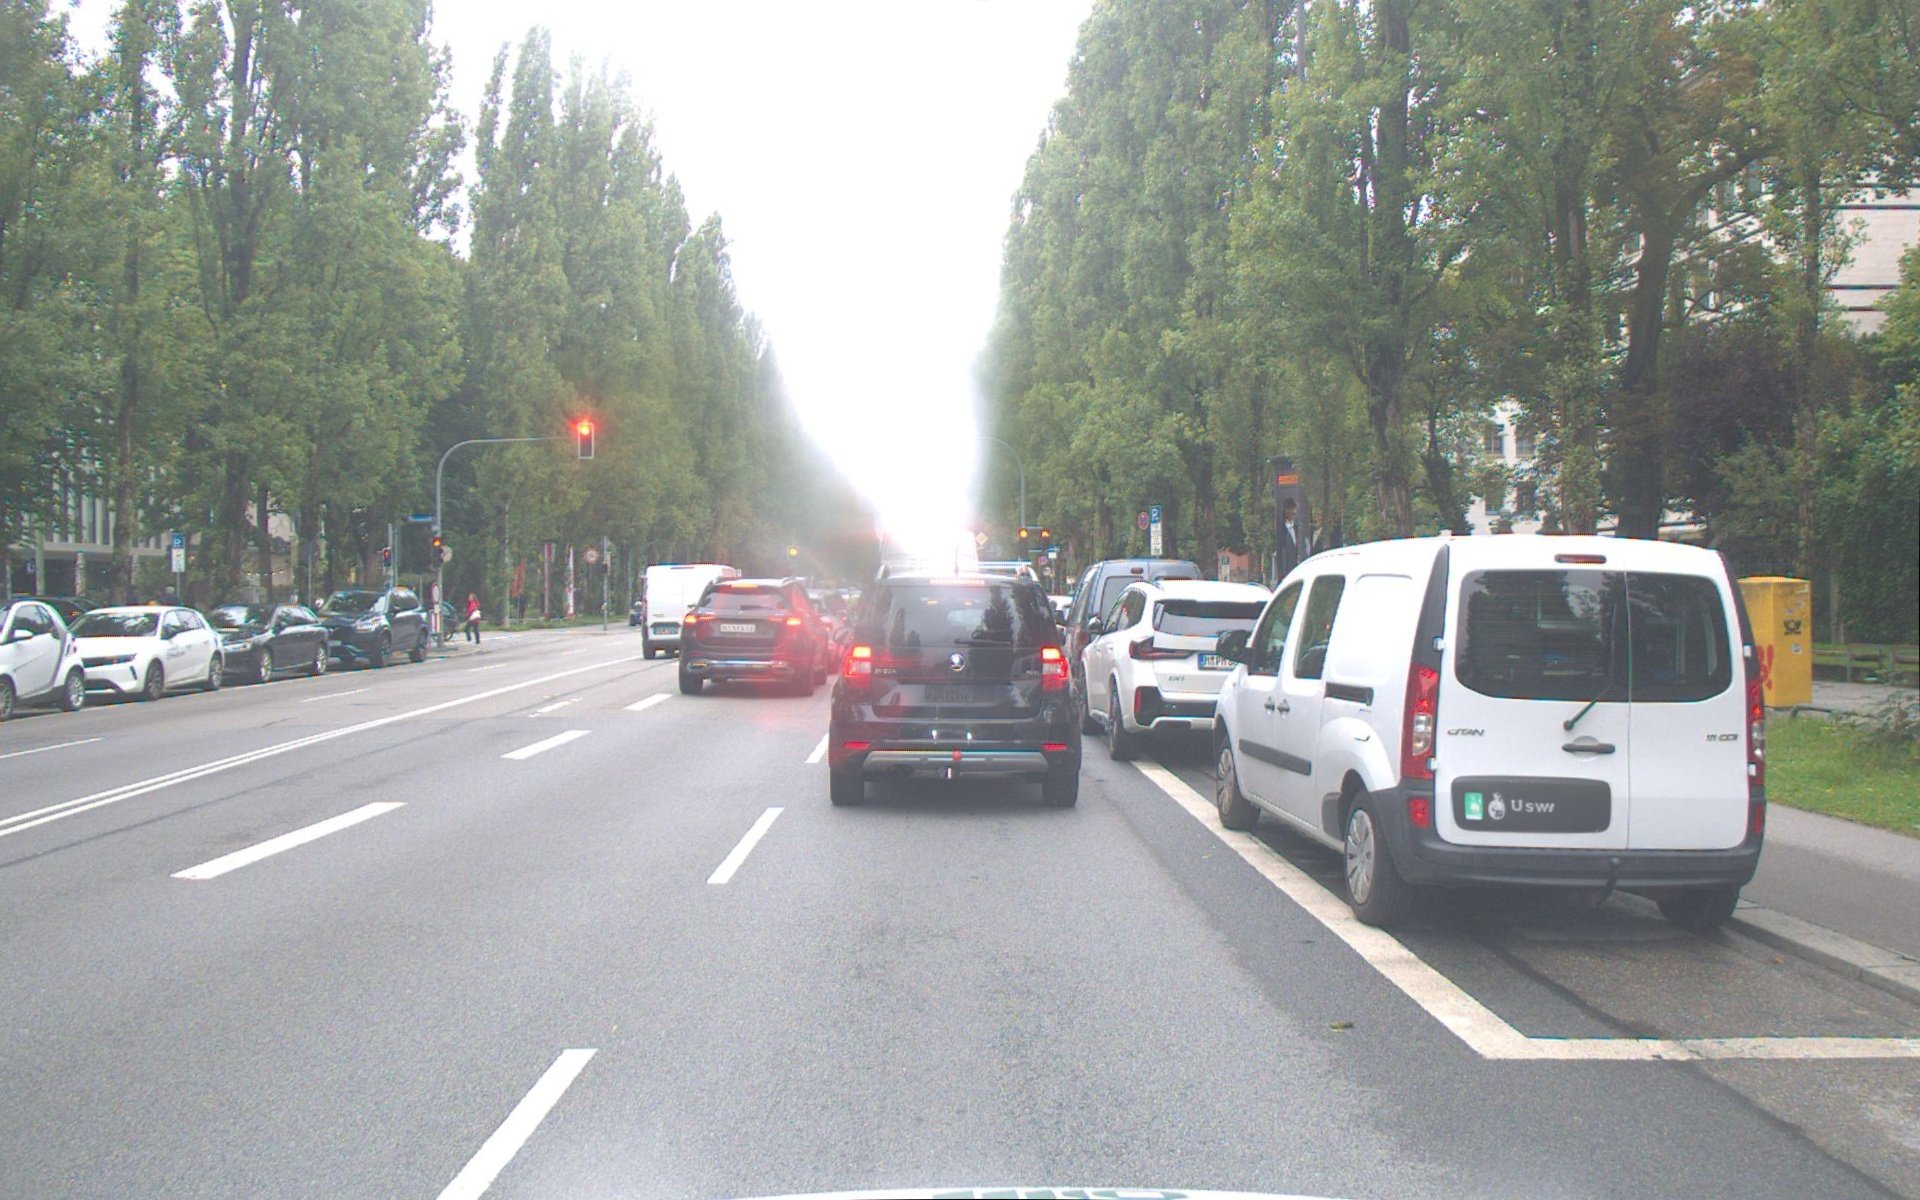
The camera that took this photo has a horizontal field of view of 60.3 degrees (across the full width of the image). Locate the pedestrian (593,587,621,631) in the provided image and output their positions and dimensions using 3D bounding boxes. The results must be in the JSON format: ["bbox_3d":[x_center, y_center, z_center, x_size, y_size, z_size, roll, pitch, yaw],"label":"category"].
[{"bbox_3d":[-14.686,0.382,68.774,0.861,1.795,0.879,-1,0,8],"label":"pedestrian"}]

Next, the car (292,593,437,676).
[{"bbox_3d":[-13.502,0.726,37.785,1.813,1.683,4.692,-3,0,-4],"label":"car"}]

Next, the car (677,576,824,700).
[{"bbox_3d":[-3.016,0.496,24.498,1.745,1.648,4.024,1,1,-2],"label":"car"}]

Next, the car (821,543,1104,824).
[{"bbox_3d":[-0.029,0.538,12.886,1.818,1.801,3.999,2,0,-1],"label":"car"}]

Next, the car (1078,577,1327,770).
[{"bbox_3d":[2.216,0.601,16.179,1.706,1.620,4.210,0,1,-2],"label":"car"}]

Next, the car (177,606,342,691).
[{"bbox_3d":[-13.384,0.882,31.838,1.591,1.413,4.163,-3,0,-4],"label":"car"}]

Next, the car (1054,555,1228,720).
[{"bbox_3d":[2.242,0.417,21.454,1.700,1.928,4.024,0,1,-2],"label":"car"}]

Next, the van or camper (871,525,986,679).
[{"bbox_3d":[-0.637,0.007,30.103,1.936,2.593,4.022,-1,0,-3],"label":"van or camper"}]

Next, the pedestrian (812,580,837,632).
[{"bbox_3d":[-5.433,0.250,66.425,0.867,2.049,1.013,-1,0,1],"label":"pedestrian"}]

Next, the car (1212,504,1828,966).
[{"bbox_3d":[2.674,0.539,9.013,1.814,1.914,4.166,0,1,-2],"label":"car"}]

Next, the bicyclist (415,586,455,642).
[{"bbox_3d":[-16.470,0.435,51.892,0.886,1.752,0.825,-1,0,8],"label":"bicyclist"}]

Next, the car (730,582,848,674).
[{"bbox_3d":[-3.143,0.471,31.107,1.953,1.588,3.998,-1,1,-3],"label":"car"}]

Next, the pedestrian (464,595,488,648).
[{"bbox_3d":[-13.930,0.623,47.582,0.507,1.511,0.536,-1,0,-1],"label":"pedestrian"}]

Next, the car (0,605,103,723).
[{"bbox_3d":[-12.936,0.853,22.131,1.399,1.472,2.965,-3,0,-2],"label":"car"}]

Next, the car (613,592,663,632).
[{"bbox_3d":[-14.952,0.537,77.017,1.654,1.814,3.774,0,1,-2],"label":"car"}]

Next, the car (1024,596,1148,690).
[{"bbox_3d":[2.027,0.663,27.524,1.700,1.411,3.561,0,1,-2],"label":"car"}]

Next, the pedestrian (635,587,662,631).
[{"bbox_3d":[-13.125,0.375,69.646,0.861,1.795,0.879,-1,0,8],"label":"pedestrian"}]

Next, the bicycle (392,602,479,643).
[{"bbox_3d":[-16.464,0.697,51.894,2.481,1.259,0.813,-1,0,8],"label":"bicycle"}]

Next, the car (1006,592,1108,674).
[{"bbox_3d":[1.870,0.609,32.823,1.700,1.501,3.561,0,1,-2],"label":"car"}]

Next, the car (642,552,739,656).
[{"bbox_3d":[-5.874,0.073,36.435,1.746,2.148,4.021,-1,0,-5],"label":"car"}]

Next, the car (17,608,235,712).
[{"bbox_3d":[-13.127,0.890,26.321,1.592,1.413,4.162,-3,0,-5],"label":"car"}]
